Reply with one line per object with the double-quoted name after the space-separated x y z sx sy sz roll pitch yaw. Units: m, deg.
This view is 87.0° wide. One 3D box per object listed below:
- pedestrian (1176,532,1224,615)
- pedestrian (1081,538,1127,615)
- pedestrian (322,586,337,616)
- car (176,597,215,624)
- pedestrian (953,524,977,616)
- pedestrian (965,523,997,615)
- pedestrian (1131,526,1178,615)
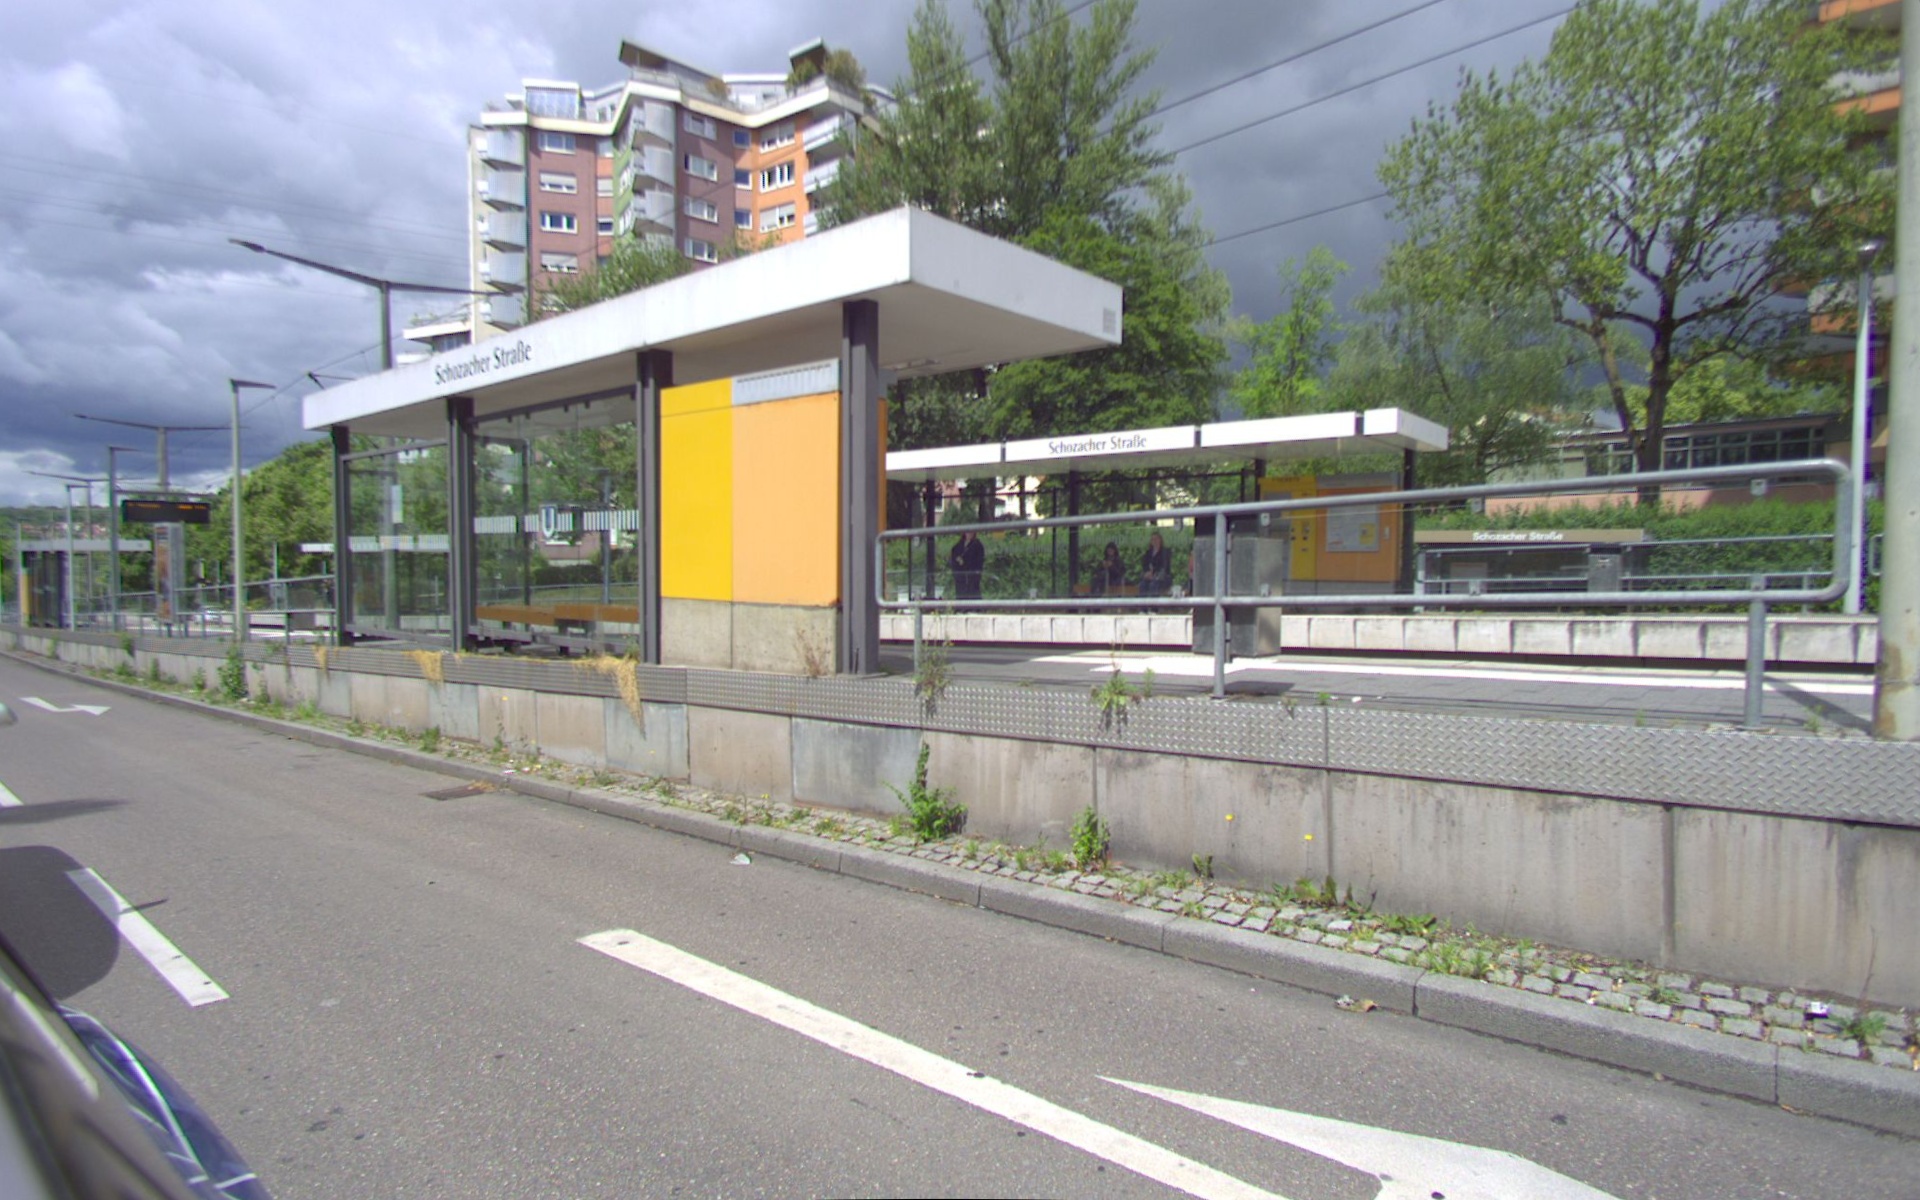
3.830 -0.416 16.136 0.463 1.287 0.704 -1 0 40 "pedestrian"
2.491 -0.399 17.489 0.463 1.287 0.704 -1 0 40 "pedestrian"
-27.384 0.042 43.949 0.528 1.287 0.563 -1 0 -35 "pedestrian"
-60.456 0.840 80.002 4.000 2.029 1.714 -1 0 43 "car"
0.092 -0.568 19.154 0.421 1.726 0.353 -1 0 -1 "pedestrian"
0.397 -0.581 19.153 0.544 1.726 0.386 -1 0 -2 "pedestrian"
3.206 -0.479 16.689 0.463 1.428 0.704 -1 0 40 "pedestrian"
